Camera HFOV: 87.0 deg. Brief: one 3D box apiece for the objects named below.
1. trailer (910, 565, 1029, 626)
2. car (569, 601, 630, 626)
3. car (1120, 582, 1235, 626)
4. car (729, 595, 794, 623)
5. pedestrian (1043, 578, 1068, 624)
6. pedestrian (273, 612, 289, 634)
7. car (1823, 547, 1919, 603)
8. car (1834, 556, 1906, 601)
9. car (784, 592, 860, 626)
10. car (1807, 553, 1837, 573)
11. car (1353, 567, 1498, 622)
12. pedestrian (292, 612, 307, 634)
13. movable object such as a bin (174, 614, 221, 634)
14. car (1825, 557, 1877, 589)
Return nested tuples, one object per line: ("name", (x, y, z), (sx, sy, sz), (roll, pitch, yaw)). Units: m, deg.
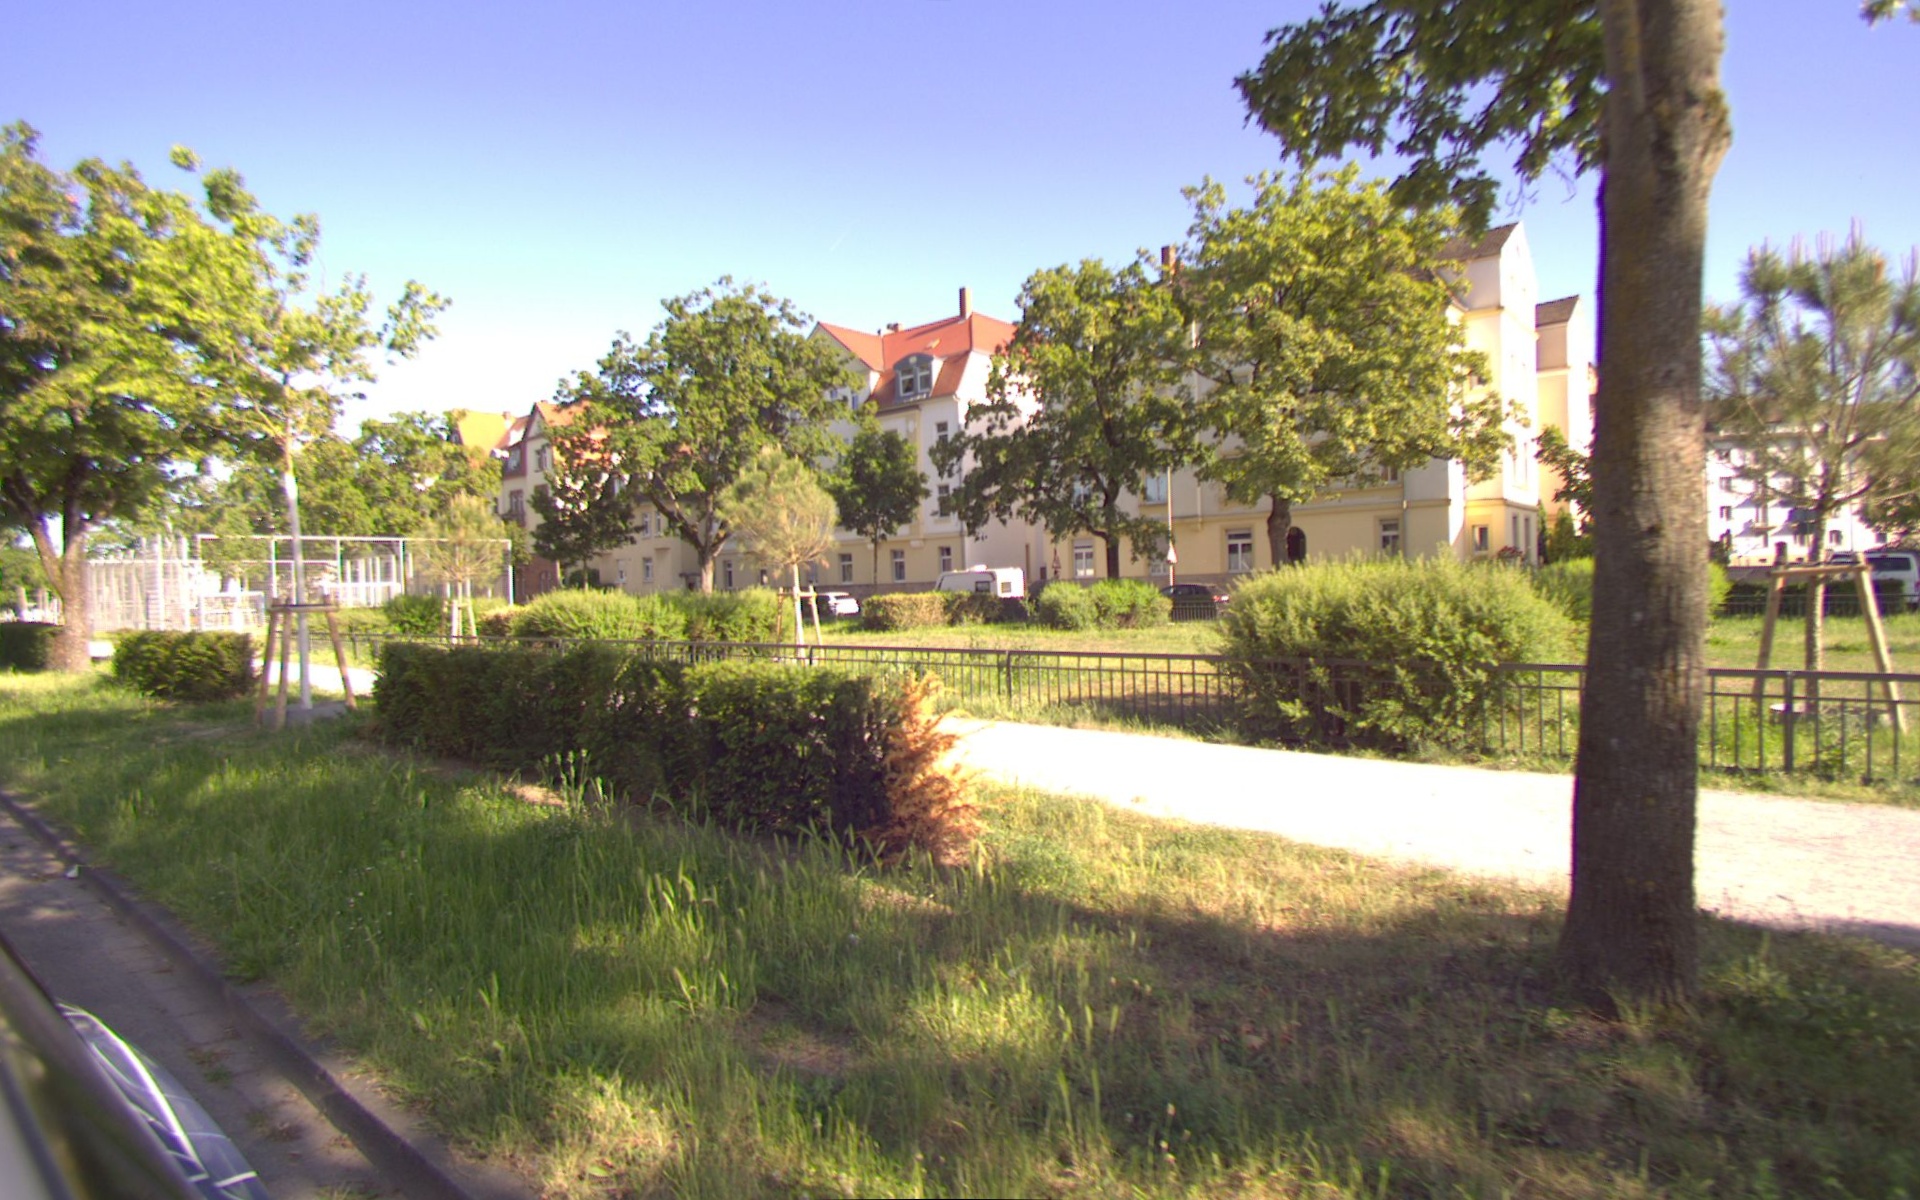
("trailer", (0.413, -0.202, 51.255), (5.798, 2.891, 2.320), (-2, 1, 40))
("car", (-26.222, 0.988, 73.550), (5.180, 1.664, 1.862), (-2, 1, 41))
("car", (9.244, 0.186, 43.235), (4.496, 1.745, 1.776), (-1, 1, 41))
("car", (-12.134, 0.554, 61.728), (3.995, 1.522, 1.699), (-2, 1, 38))
("pedestrian", (3.513, 0.041, 37.118), (0.650, 1.674, 0.641), (-1, 0, 41))
("pedestrian", (-42.358, 1.452, 63.133), (0.639, 1.328, 0.652), (-2, 0, -20))
("car", (29.547, -0.814, 32.823), (1.794, 1.664, 3.956), (-2, 1, 32))
("car", (34.441, -0.840, 38.392), (1.798, 1.578, 3.948), (-2, 1, 39))
("car", (-7.908, 0.537, 57.845), (4.486, 1.790, 1.776), (-2, 1, 41))
("car", (71.221, -3.060, 83.573), (1.800, 1.521, 3.945), (-1, 1, 42))
("car", (16.882, -0.180, 36.791), (4.452, 1.829, 1.777), (-2, 0, 39))
("pedestrian", (-41.370, 1.417, 63.401), (0.639, 1.328, 0.652), (-2, 0, -20))
("movable object such as a bin", (-50.815, 1.567, 67.476), (1.054, 1.251, 2.309), (-2, -1, 36))
("car", (44.397, -1.348, 50.497), (1.799, 1.521, 3.947), (-2, 1, 40))
